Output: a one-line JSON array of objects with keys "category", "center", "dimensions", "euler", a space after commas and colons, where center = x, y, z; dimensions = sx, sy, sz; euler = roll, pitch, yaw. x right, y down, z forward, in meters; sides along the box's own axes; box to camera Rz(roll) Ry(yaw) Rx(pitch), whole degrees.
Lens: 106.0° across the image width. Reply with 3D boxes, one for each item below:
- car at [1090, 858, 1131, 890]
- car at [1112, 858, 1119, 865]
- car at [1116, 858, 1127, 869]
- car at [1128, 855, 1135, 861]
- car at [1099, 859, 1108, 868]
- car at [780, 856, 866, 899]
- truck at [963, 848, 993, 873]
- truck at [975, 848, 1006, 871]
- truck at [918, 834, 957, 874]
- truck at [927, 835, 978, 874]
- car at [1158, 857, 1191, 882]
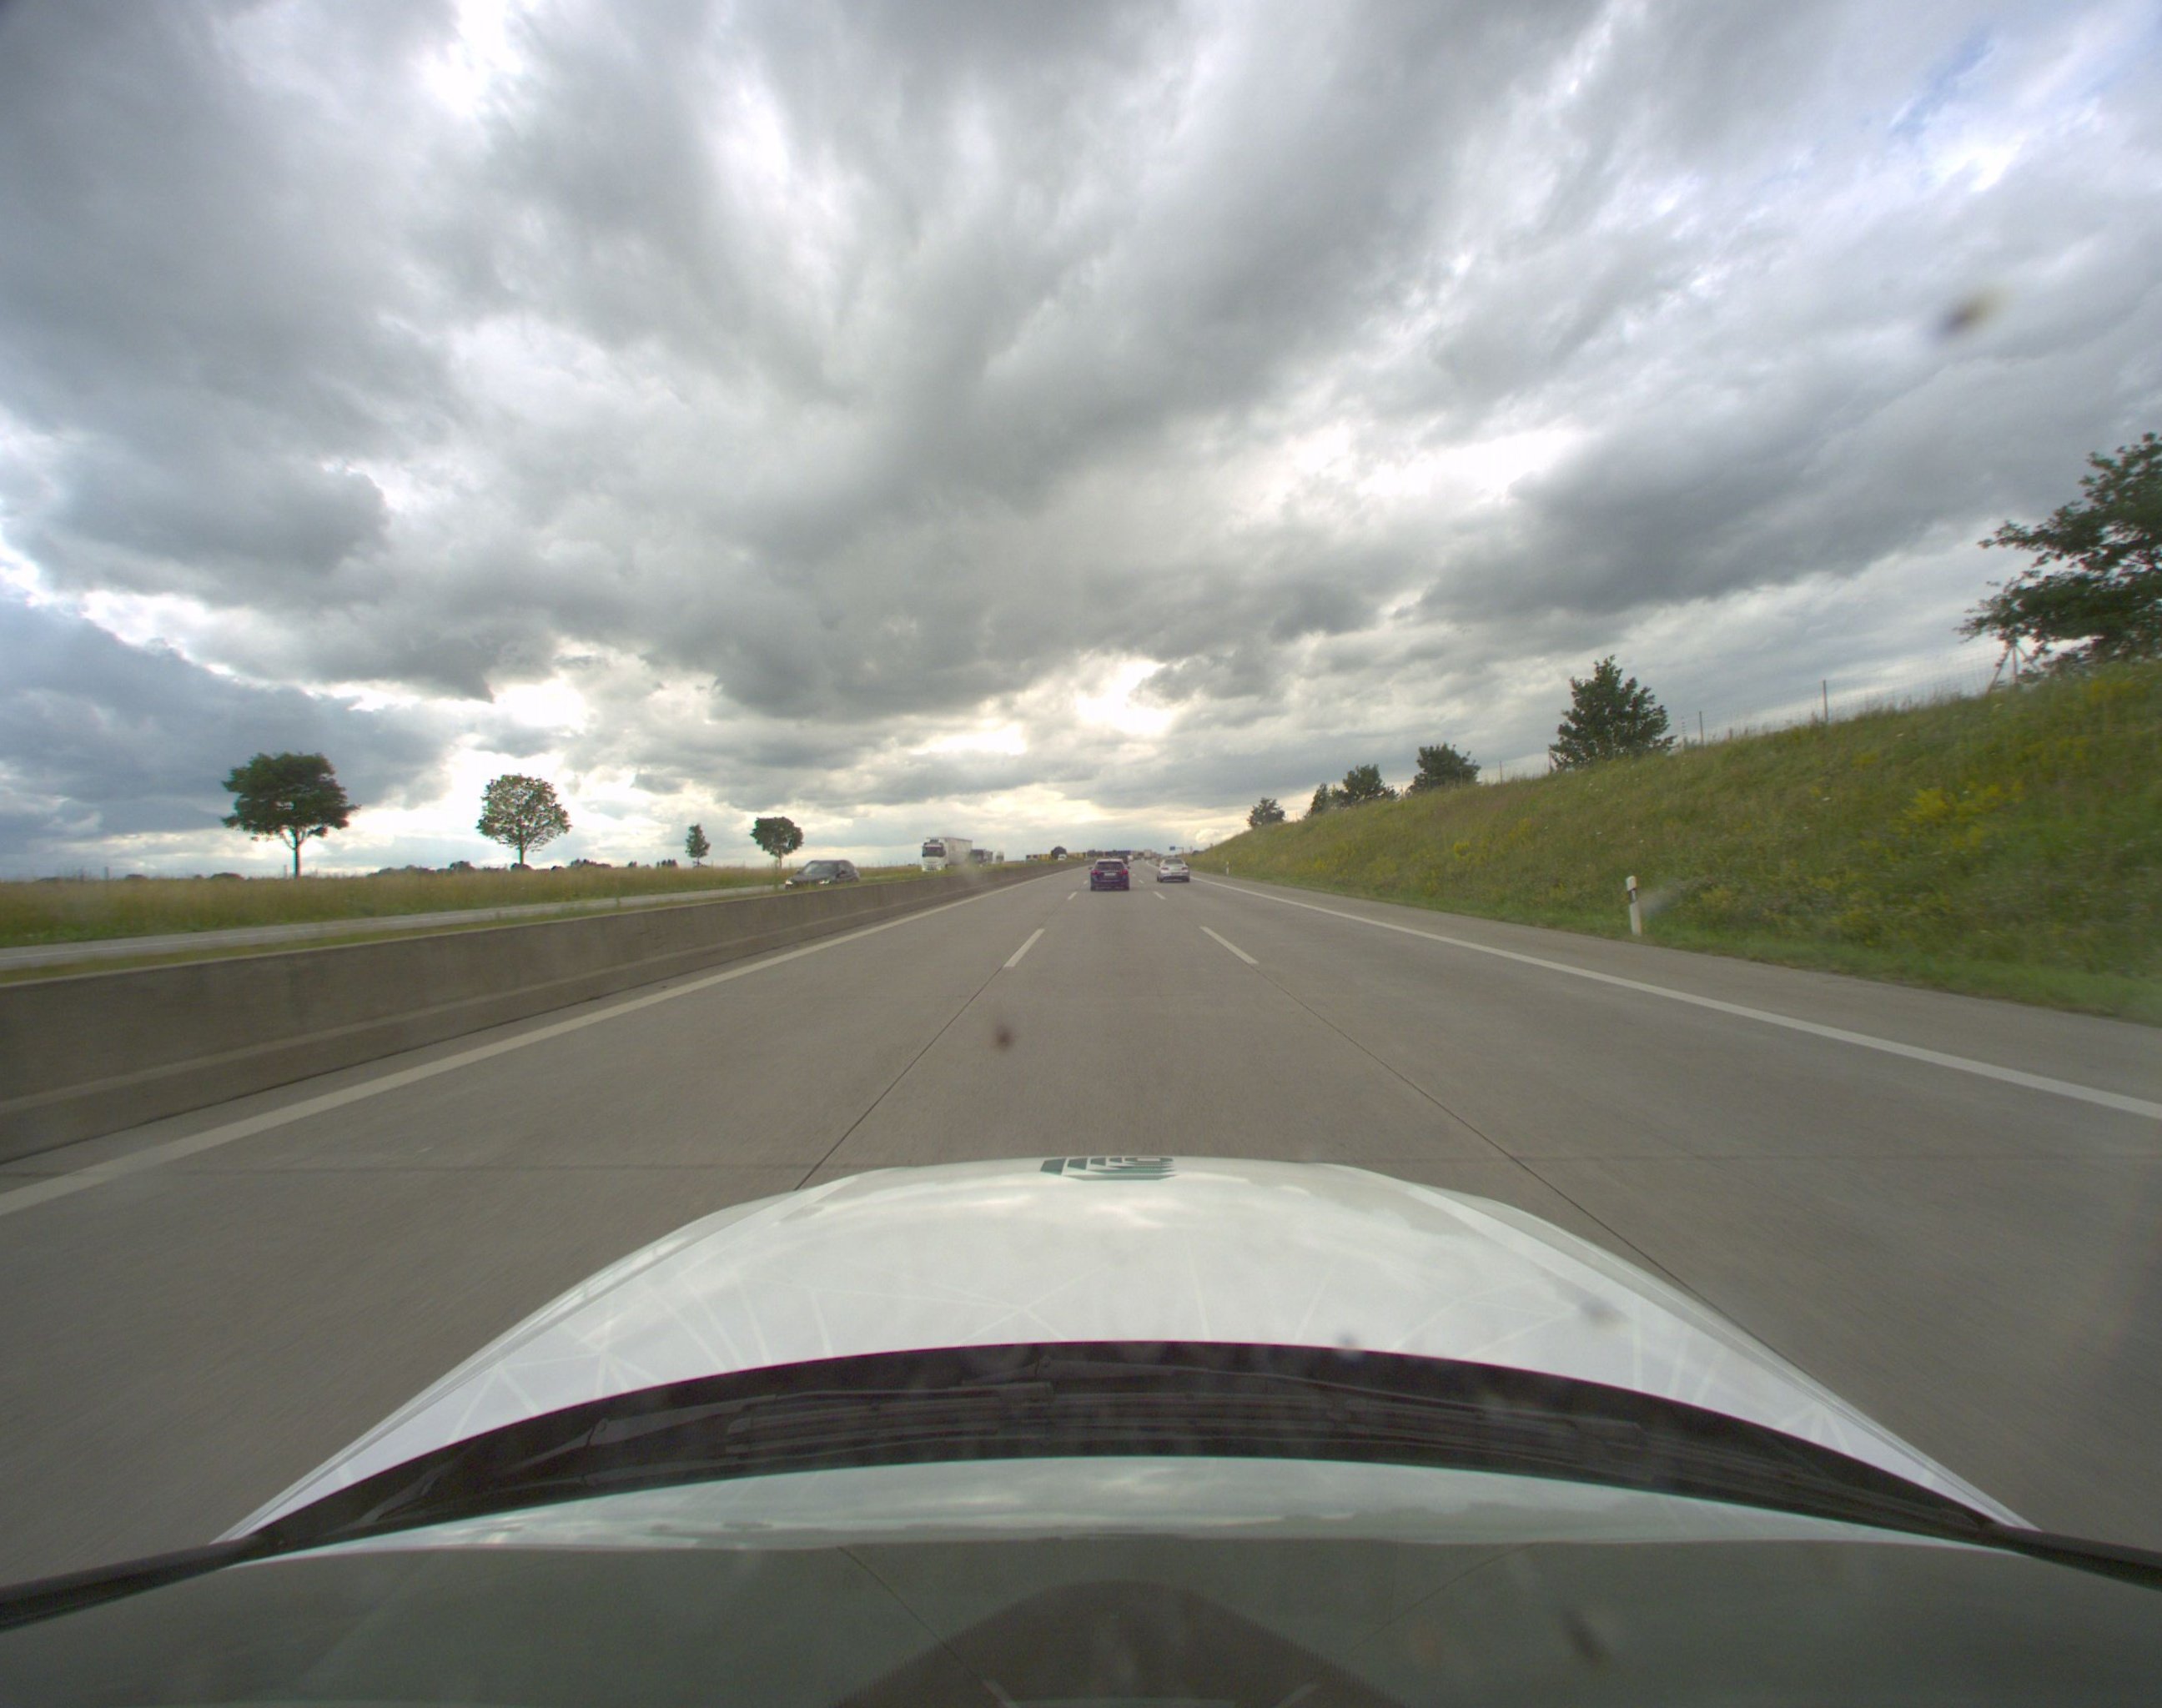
[{"category": "car", "center": [1.399, 0.907, 38.234], "dimensions": [1.767, 1.413, 4.002], "euler": [-1, -1, 2]}, {"category": "car", "center": [10.130, 2.106, 241.297], "dimensions": [1.987, 2.014, 3.998], "euler": [0, -1, -1]}, {"category": "car", "center": [7.559, 1.851, 152.300], "dimensions": [1.987, 2.014, 3.999], "euler": [0, -1, 0]}, {"category": "car", "center": [15.474, 1.223, 250.852], "dimensions": [1.984, 2.014, 4.004], "euler": [-1, -1, 4]}, {"category": "car", "center": [5.119, 2.142, 183.899], "dimensions": [2.039, 2.014, 4.000], "euler": [0, -1, 1]}, {"category": "car", "center": [-10.584, 0.905, 33.785], "dimensions": [1.986, 1.640, 4.399], "euler": [-1, 0, 2]}, {"category": "truck", "center": [-11.502, 0.692, 91.527], "dimensions": [2.242, 2.725, 7.129], "euler": [0, 0, 2]}, {"category": "truck", "center": [-10.981, 0.674, 99.525], "dimensions": [2.605, 2.725, 6.924], "euler": [0, 0, 3]}, {"category": "truck", "center": [-15.641, 0.069, 89.292], "dimensions": [2.828, 4.256, 6.098], "euler": [-1, -1, 4]}, {"category": "truck", "center": [-15.071, 0.210, 97.017], "dimensions": [2.828, 4.256, 14.581], "euler": [-1, -1, 4]}, {"category": "car", "center": [5.565, 0.917, 49.004], "dimensions": [1.781, 1.403, 4.226], "euler": [-1, -1, 4]}]
